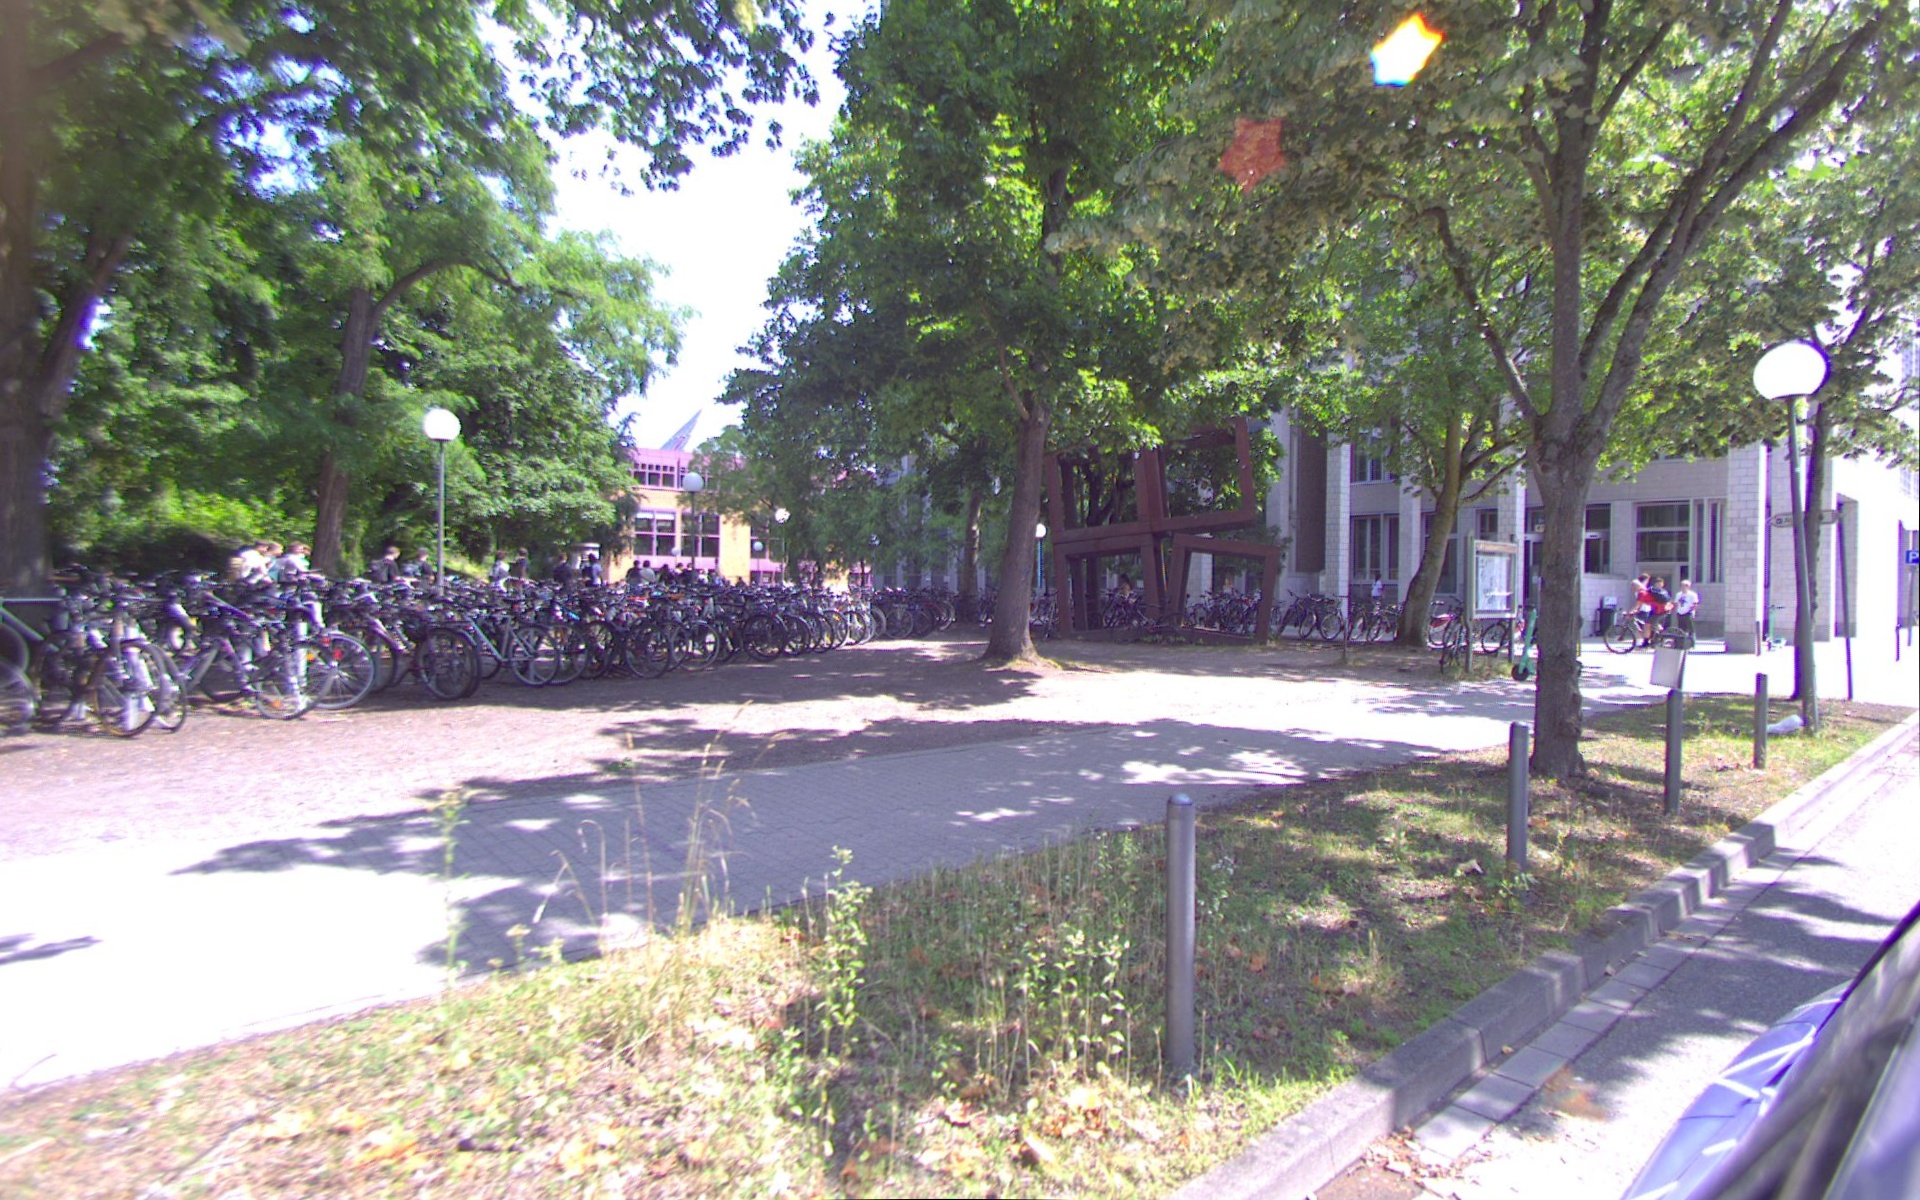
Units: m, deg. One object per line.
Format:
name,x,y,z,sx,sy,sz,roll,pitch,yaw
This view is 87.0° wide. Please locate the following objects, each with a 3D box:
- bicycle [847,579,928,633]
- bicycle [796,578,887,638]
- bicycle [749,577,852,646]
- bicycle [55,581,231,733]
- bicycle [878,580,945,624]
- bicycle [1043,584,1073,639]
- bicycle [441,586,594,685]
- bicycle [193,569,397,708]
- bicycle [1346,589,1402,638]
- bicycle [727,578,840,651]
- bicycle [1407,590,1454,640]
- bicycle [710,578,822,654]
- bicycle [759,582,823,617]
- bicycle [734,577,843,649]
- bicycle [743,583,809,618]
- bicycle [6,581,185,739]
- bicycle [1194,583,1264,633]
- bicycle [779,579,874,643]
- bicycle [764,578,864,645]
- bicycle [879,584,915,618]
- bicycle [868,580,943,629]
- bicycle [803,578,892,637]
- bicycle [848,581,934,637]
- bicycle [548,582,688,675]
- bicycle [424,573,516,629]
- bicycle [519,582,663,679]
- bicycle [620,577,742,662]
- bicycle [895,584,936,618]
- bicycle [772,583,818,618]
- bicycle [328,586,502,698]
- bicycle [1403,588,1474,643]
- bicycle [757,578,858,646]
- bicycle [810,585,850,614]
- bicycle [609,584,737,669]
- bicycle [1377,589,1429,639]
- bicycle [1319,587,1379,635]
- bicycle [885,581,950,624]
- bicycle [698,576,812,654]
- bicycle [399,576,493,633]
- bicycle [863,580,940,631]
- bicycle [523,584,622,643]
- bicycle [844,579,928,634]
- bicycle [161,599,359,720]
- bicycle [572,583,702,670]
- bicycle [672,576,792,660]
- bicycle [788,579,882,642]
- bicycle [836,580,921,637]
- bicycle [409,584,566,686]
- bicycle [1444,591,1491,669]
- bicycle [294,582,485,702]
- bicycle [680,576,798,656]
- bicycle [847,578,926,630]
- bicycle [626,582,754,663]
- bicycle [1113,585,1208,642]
bicycle,-1.669,0.133,23.337,1.816,1.185,0.412,1,0,11
bicycle,-2.428,0.156,20.760,1.817,1.185,0.352,1,0,13
bicycle,-2.872,0.196,18.225,1.817,1.185,0.344,1,0,13
bicycle,-6.446,0.408,7.955,1.895,1.073,0.322,2,1,27
bicycle,-1.356,0.059,28.234,1.812,1.185,0.345,1,0,5
bicycle,2.151,0.231,22.110,0.468,1.123,1.665,0,2,12
bicycle,-4.992,0.380,11.408,1.769,1.041,0.379,1,0,18
bicycle,-6.023,0.322,9.170,1.712,1.169,0.492,1,0,13
bicycle,9.850,0.328,24.046,1.486,1.099,0.482,2,1,-36
bicycle,-2.960,0.238,17.003,1.811,1.185,0.345,1,0,2
bicycle,10.826,0.354,23.264,1.416,1.099,0.460,2,1,-44
bicycle,-3.177,0.248,16.529,1.819,1.185,0.344,1,0,16
bicycle,-5.223,-0.022,31.265,1.874,0.991,0.477,2,1,12
bicycle,-2.938,0.222,17.377,1.811,1.185,0.345,1,0,2
bicycle,-5.470,0.016,30.086,1.867,0.991,0.479,1,1,0
bicycle,-6.589,0.412,7.683,1.895,1.073,0.322,2,1,27
bicycle,6.352,0.194,23.863,1.792,1.091,0.464,2,1,-33
bicycle,-2.588,0.202,19.603,1.817,1.185,0.352,1,0,13
bicycle,-2.728,0.199,18.893,1.817,1.185,0.344,1,0,13
bicycle,-2.072,0.021,33.583,0.350,1.097,1.453,1,1,36
bicycle,-1.354,0.106,25.181,1.816,1.185,0.412,1,0,11
bicycle,-2.357,0.144,21.109,1.817,1.185,0.352,1,0,13
bicycle,-1.514,0.189,22.211,1.817,1.185,0.387,1,0,13
bicycle,-4.273,0.338,12.625,1.770,1.083,0.424,1,1,20
bicycle,-9.332,0.012,19.265,1.880,0.991,0.376,2,2,20
bicycle,-4.466,0.348,12.229,1.770,1.083,0.424,1,1,20
bicycle,-4.126,0.267,14.952,1.768,1.185,0.401,1,0,16
bicycle,-1.435,0.031,32.879,1.448,1.097,0.352,0,1,-45
bicycle,-5.283,0.031,32.423,1.442,1.098,0.479,0,-2,-8
bicycle,-5.535,0.402,10.260,1.773,1.041,0.438,1,1,18
bicycle,10.653,0.352,22.522,1.494,1.155,0.493,3,1,-22
bicycle,-2.800,0.210,18.563,1.817,1.185,0.344,1,0,13
bicycle,-5.331,-0.010,41.665,0.549,1.165,1.661,-2,-3,44
bicycle,-3.912,0.341,13.767,1.772,1.083,0.423,1,1,22
bicycle,10.251,0.333,23.386,1.447,1.099,0.460,2,1,-40
bicycle,9.322,0.270,24.235,1.664,1.099,0.482,2,1,-36
bicycle,-1.197,0.067,28.570,1.812,1.185,0.345,1,0,5
bicycle,-3.283,0.233,16.193,1.819,1.185,0.344,1,0,16
bicycle,-9.603,0.067,18.906,1.880,0.991,0.376,2,2,20
bicycle,-1.434,0.124,24.692,1.816,1.185,0.412,1,0,11
bicycle,-7.018,0.229,18.314,1.880,0.991,0.376,2,2,20
bicycle,-1.663,0.129,22.710,1.816,1.185,0.387,1,0,11
bicycle,-5.967,0.477,8.620,1.717,0.921,0.491,1,1,21
bicycle,-4.312,0.332,13.484,1.772,1.083,0.423,1,1,22
bicycle,-3.416,0.253,15.170,1.768,1.185,0.401,1,0,16
bicycle,-2.476,0.192,19.960,1.817,1.185,0.352,1,0,13
bicycle,-1.763,0.174,21.876,1.817,1.185,0.352,1,0,13
bicycle,-5.188,0.360,11.098,1.769,1.041,0.380,1,0,18
bicycle,8.070,0.446,16.128,0.622,1.097,1.674,-1,2,26
bicycle,-5.493,0.379,9.753,1.712,1.065,0.492,1,0,13
bicycle,-3.472,0.238,15.862,1.819,1.185,0.401,1,0,16
bicycle,-1.753,0.096,24.044,1.816,1.185,0.412,1,0,11
bicycle,-3.842,0.308,14.396,1.766,1.083,0.425,1,0,14
bicycle,4.140,0.258,20.946,1.895,1.123,0.630,1,1,13
